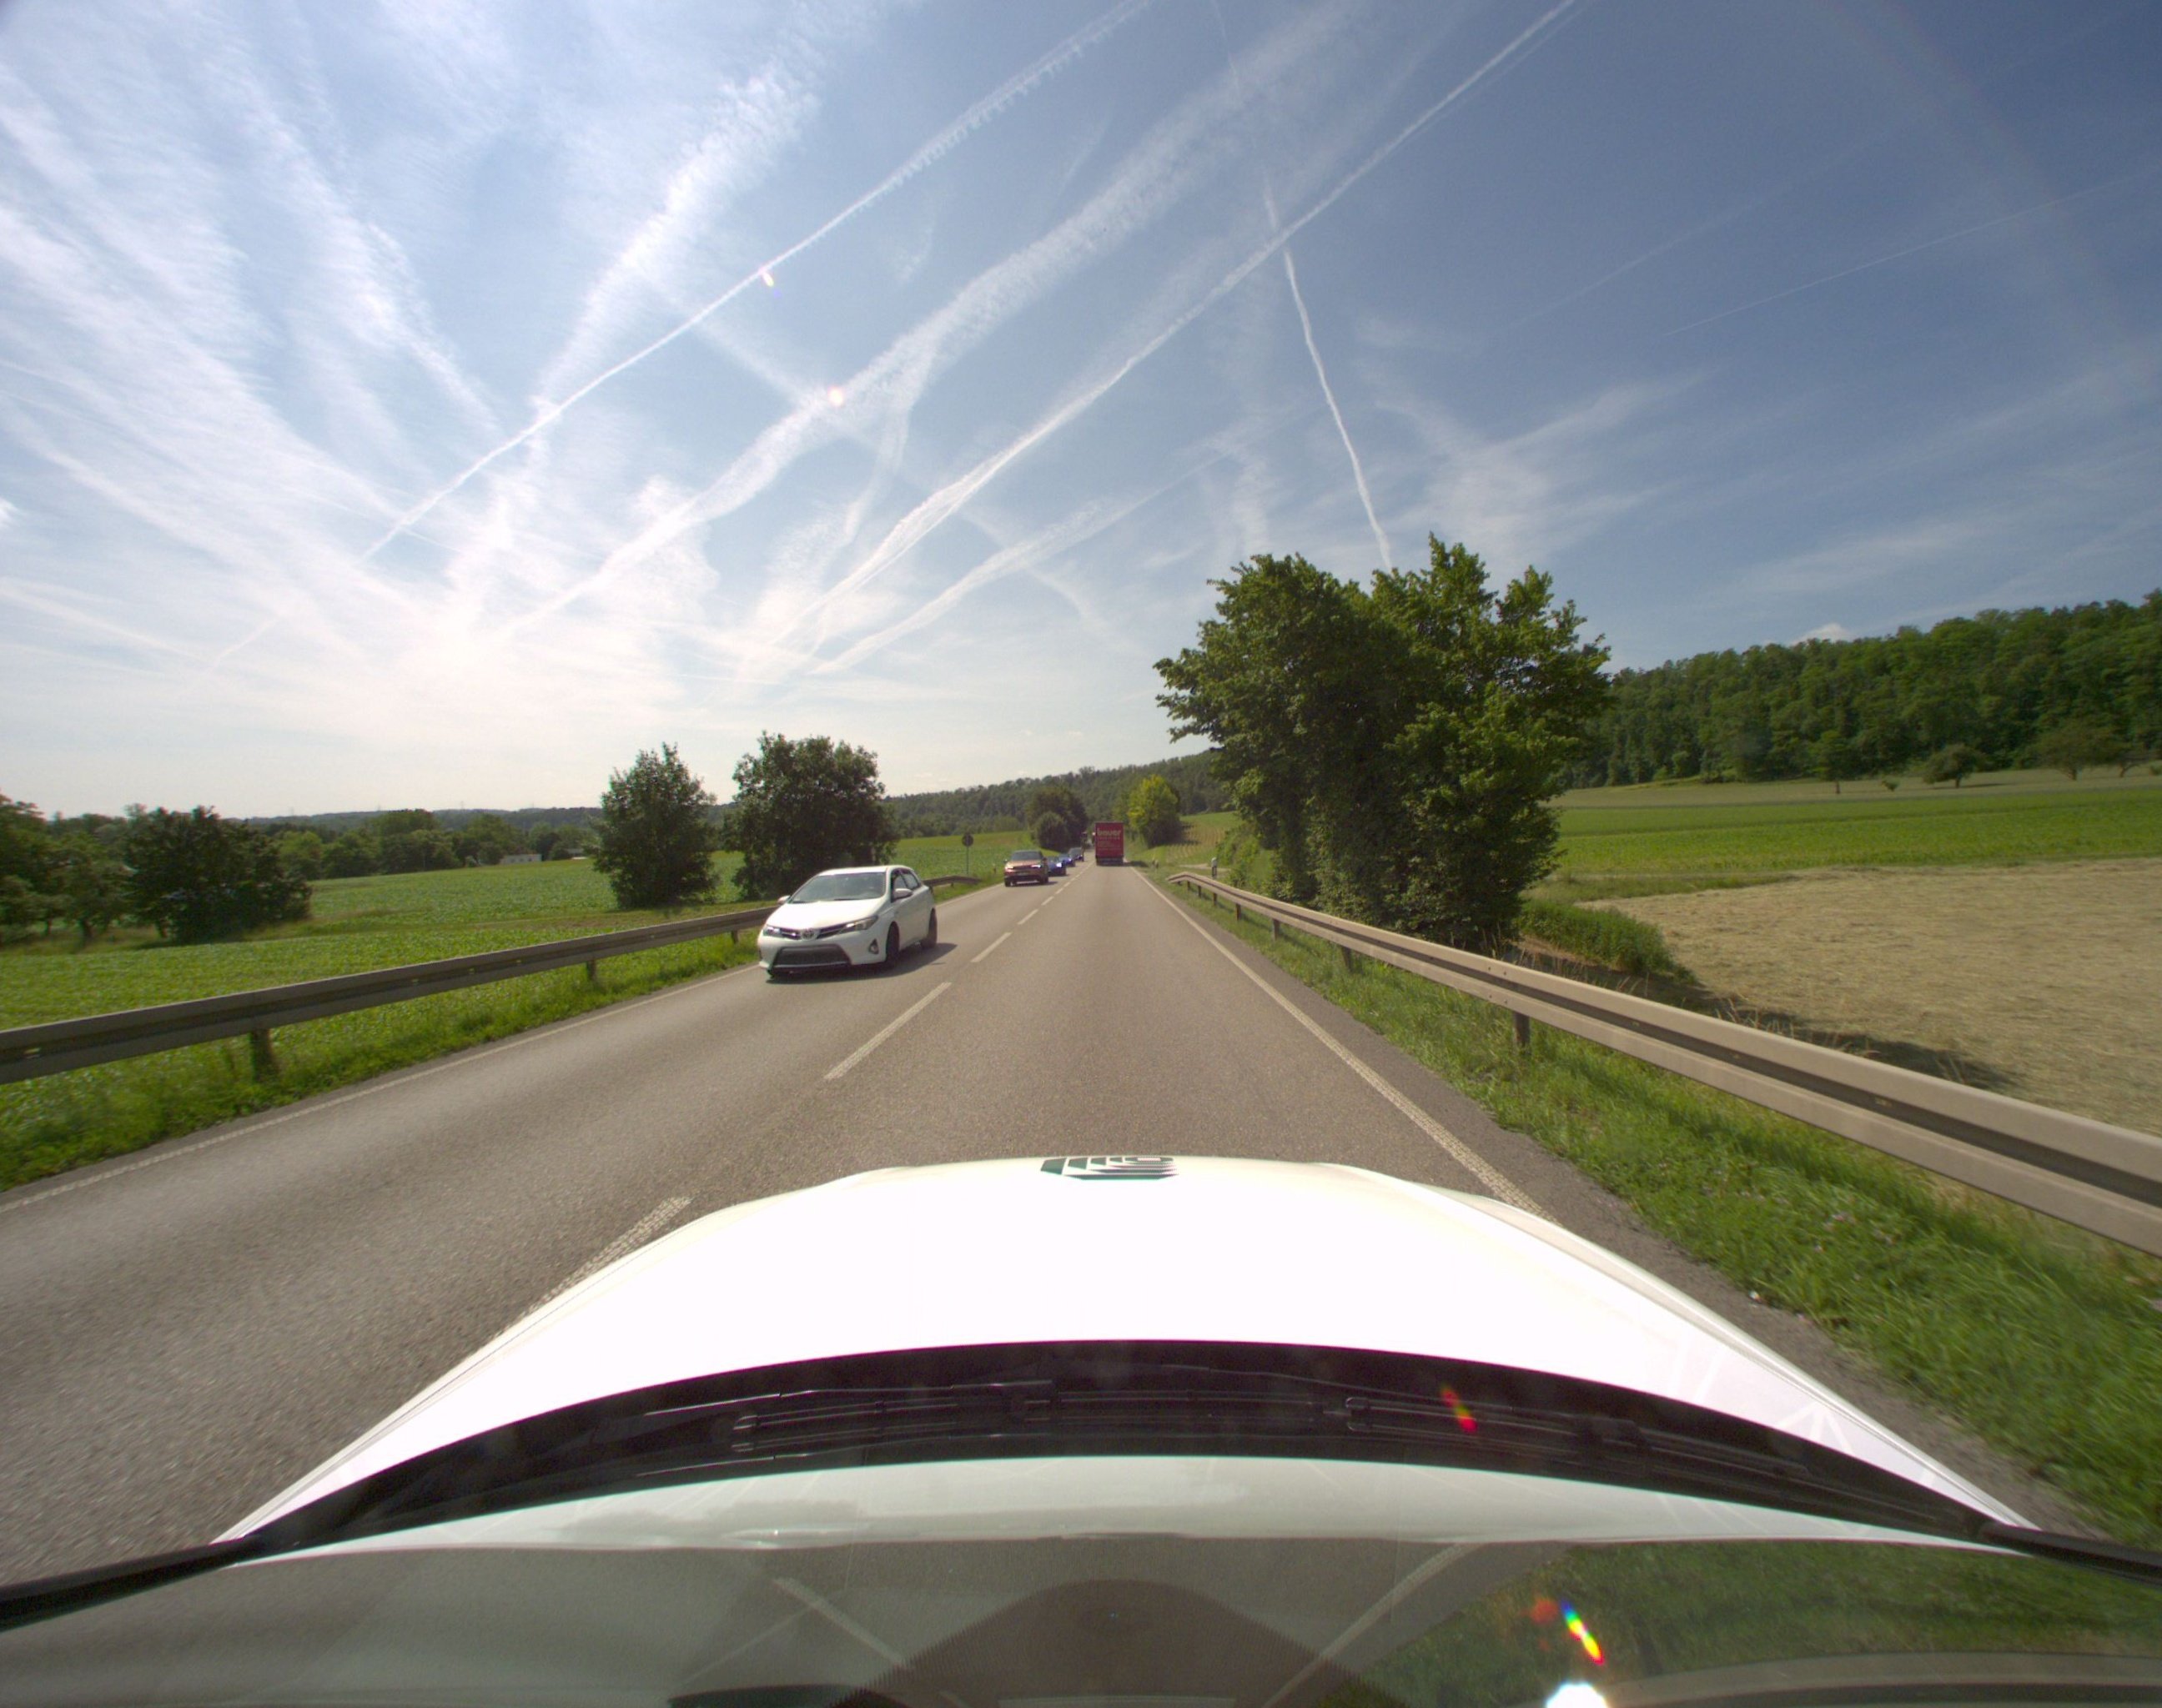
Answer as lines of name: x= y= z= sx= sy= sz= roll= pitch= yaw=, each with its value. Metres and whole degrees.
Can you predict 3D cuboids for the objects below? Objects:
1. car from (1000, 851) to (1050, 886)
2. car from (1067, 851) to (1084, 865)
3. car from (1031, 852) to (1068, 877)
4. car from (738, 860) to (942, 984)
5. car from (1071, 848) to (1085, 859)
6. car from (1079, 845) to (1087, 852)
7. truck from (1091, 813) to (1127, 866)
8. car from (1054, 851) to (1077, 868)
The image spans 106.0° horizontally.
car: x=-2.623 y=0.665 z=39.006 sx=1.905 sy=1.474 sz=3.876 roll=-3 pitch=0 yaw=2
car: x=-0.656 y=0.474 z=95.100 sx=1.801 sy=1.486 sz=4.002 roll=-2 pitch=0 yaw=2
car: x=-1.910 y=0.620 z=50.726 sx=1.986 sy=1.342 sz=4.002 roll=-2 pitch=1 yaw=2
car: x=-3.427 y=0.886 z=12.393 sx=1.724 sy=1.434 sz=3.918 roll=-4 pitch=0 yaw=2
car: x=-0.422 y=-0.149 z=118.394 sx=1.801 sy=1.486 sz=4.002 roll=-2 pitch=0 yaw=2
car: x=0.515 y=-1.366 z=211.152 sx=1.987 sy=1.794 sz=4.000 roll=-2 pitch=0 yaw=1
truck: x=2.785 y=-1.326 z=78.794 sx=3.159 sy=4.625 sz=13.553 roll=-1 pitch=0 yaw=3
car: x=-1.360 y=0.502 z=73.223 sx=1.825 sy=1.342 sz=4.002 roll=-2 pitch=1 yaw=2
